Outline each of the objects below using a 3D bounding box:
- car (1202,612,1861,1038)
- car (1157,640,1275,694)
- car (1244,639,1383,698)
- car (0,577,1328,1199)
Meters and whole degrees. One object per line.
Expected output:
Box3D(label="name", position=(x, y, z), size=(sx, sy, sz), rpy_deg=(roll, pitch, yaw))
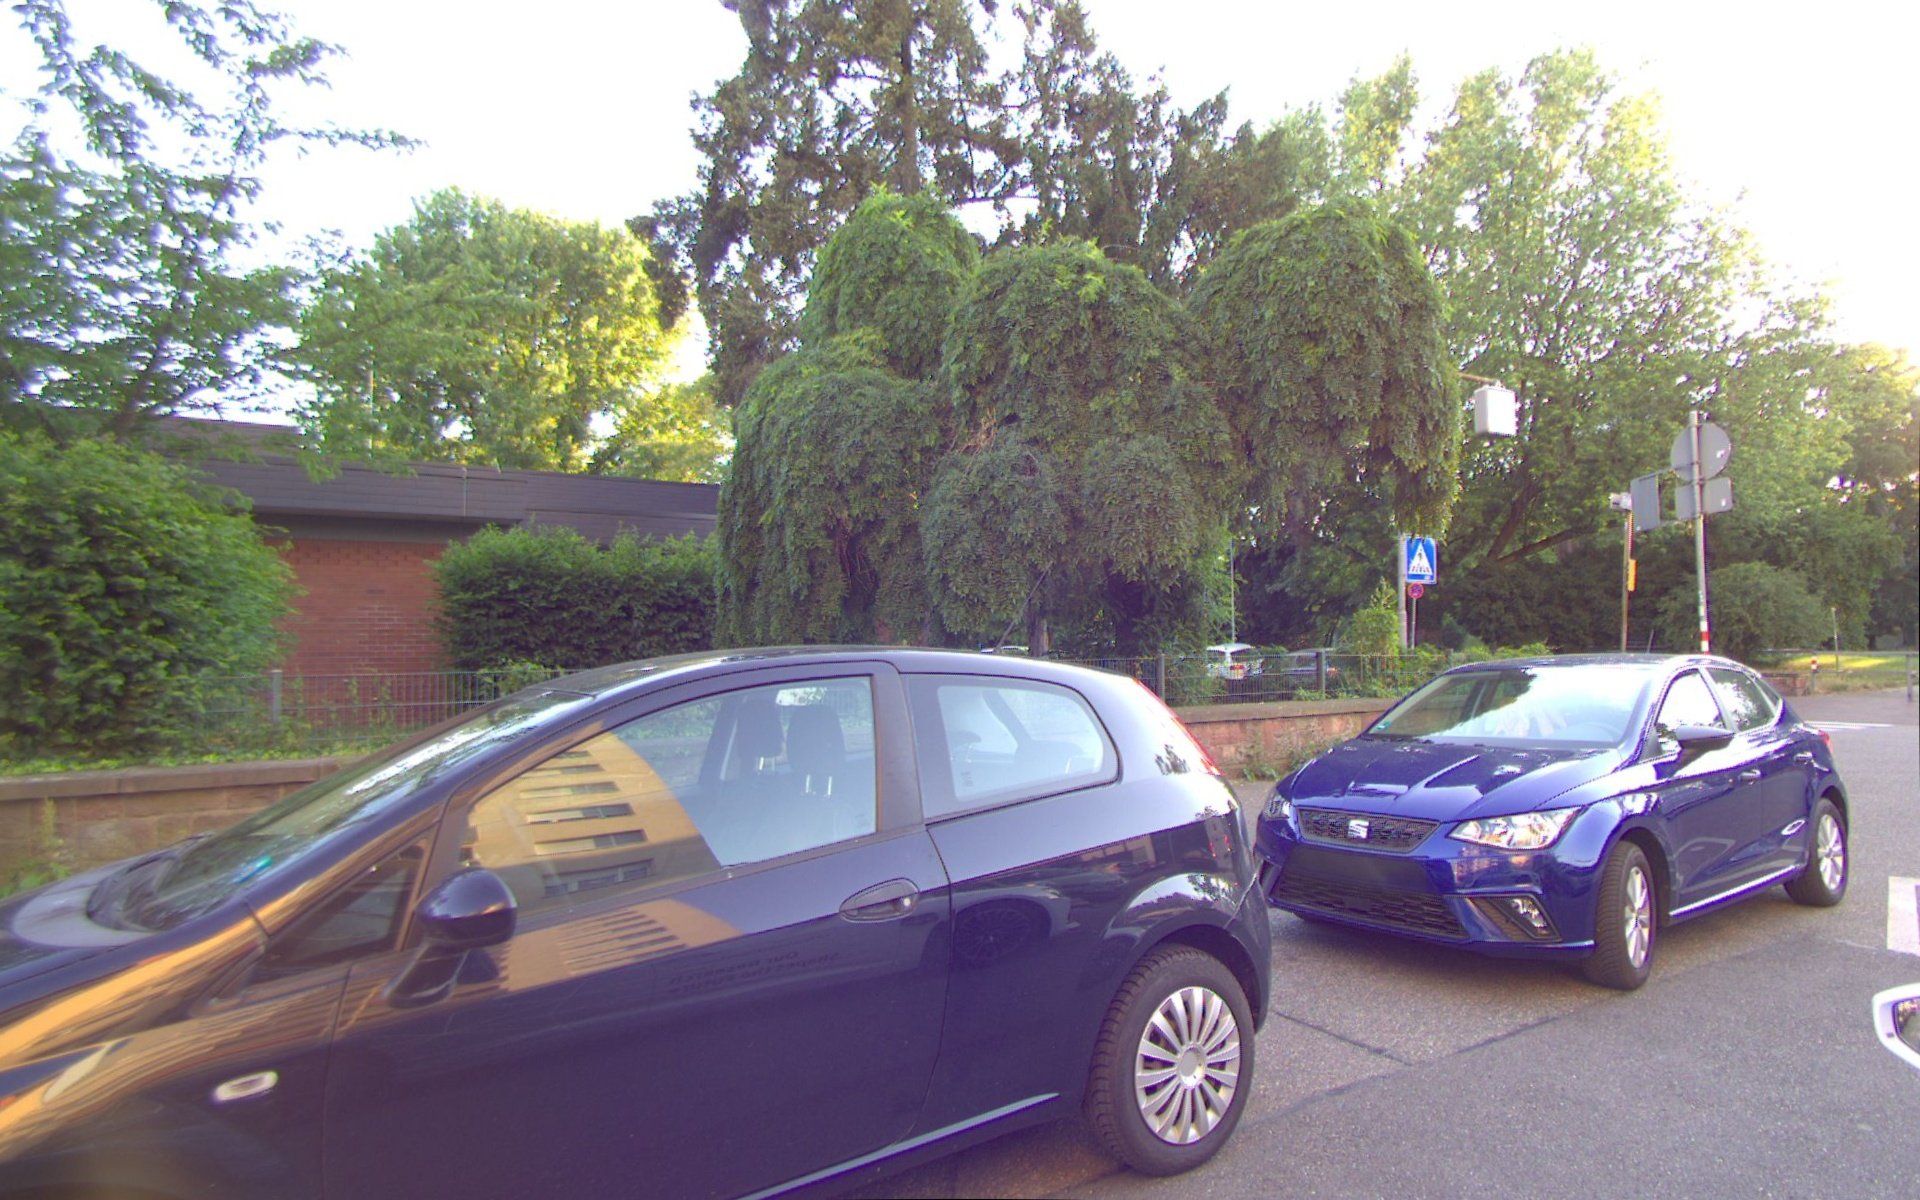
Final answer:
Box3D(label="car", position=(3.291, 0.926, 5.586), size=(3.753, 1.587, 1.723), rpy_deg=(1, -4, -35))
Box3D(label="car", position=(8.925, 2.346, 35.357), size=(1.800, 1.583, 3.856), rpy_deg=(-6, 0, -27))
Box3D(label="car", position=(10.807, 2.076, 30.985), size=(1.798, 1.511, 3.843), rpy_deg=(-6, 0, -24))
Box3D(label="car", position=(-0.873, 0.833, 2.794), size=(3.659, 1.587, 1.723), rpy_deg=(1, -4, -34))
